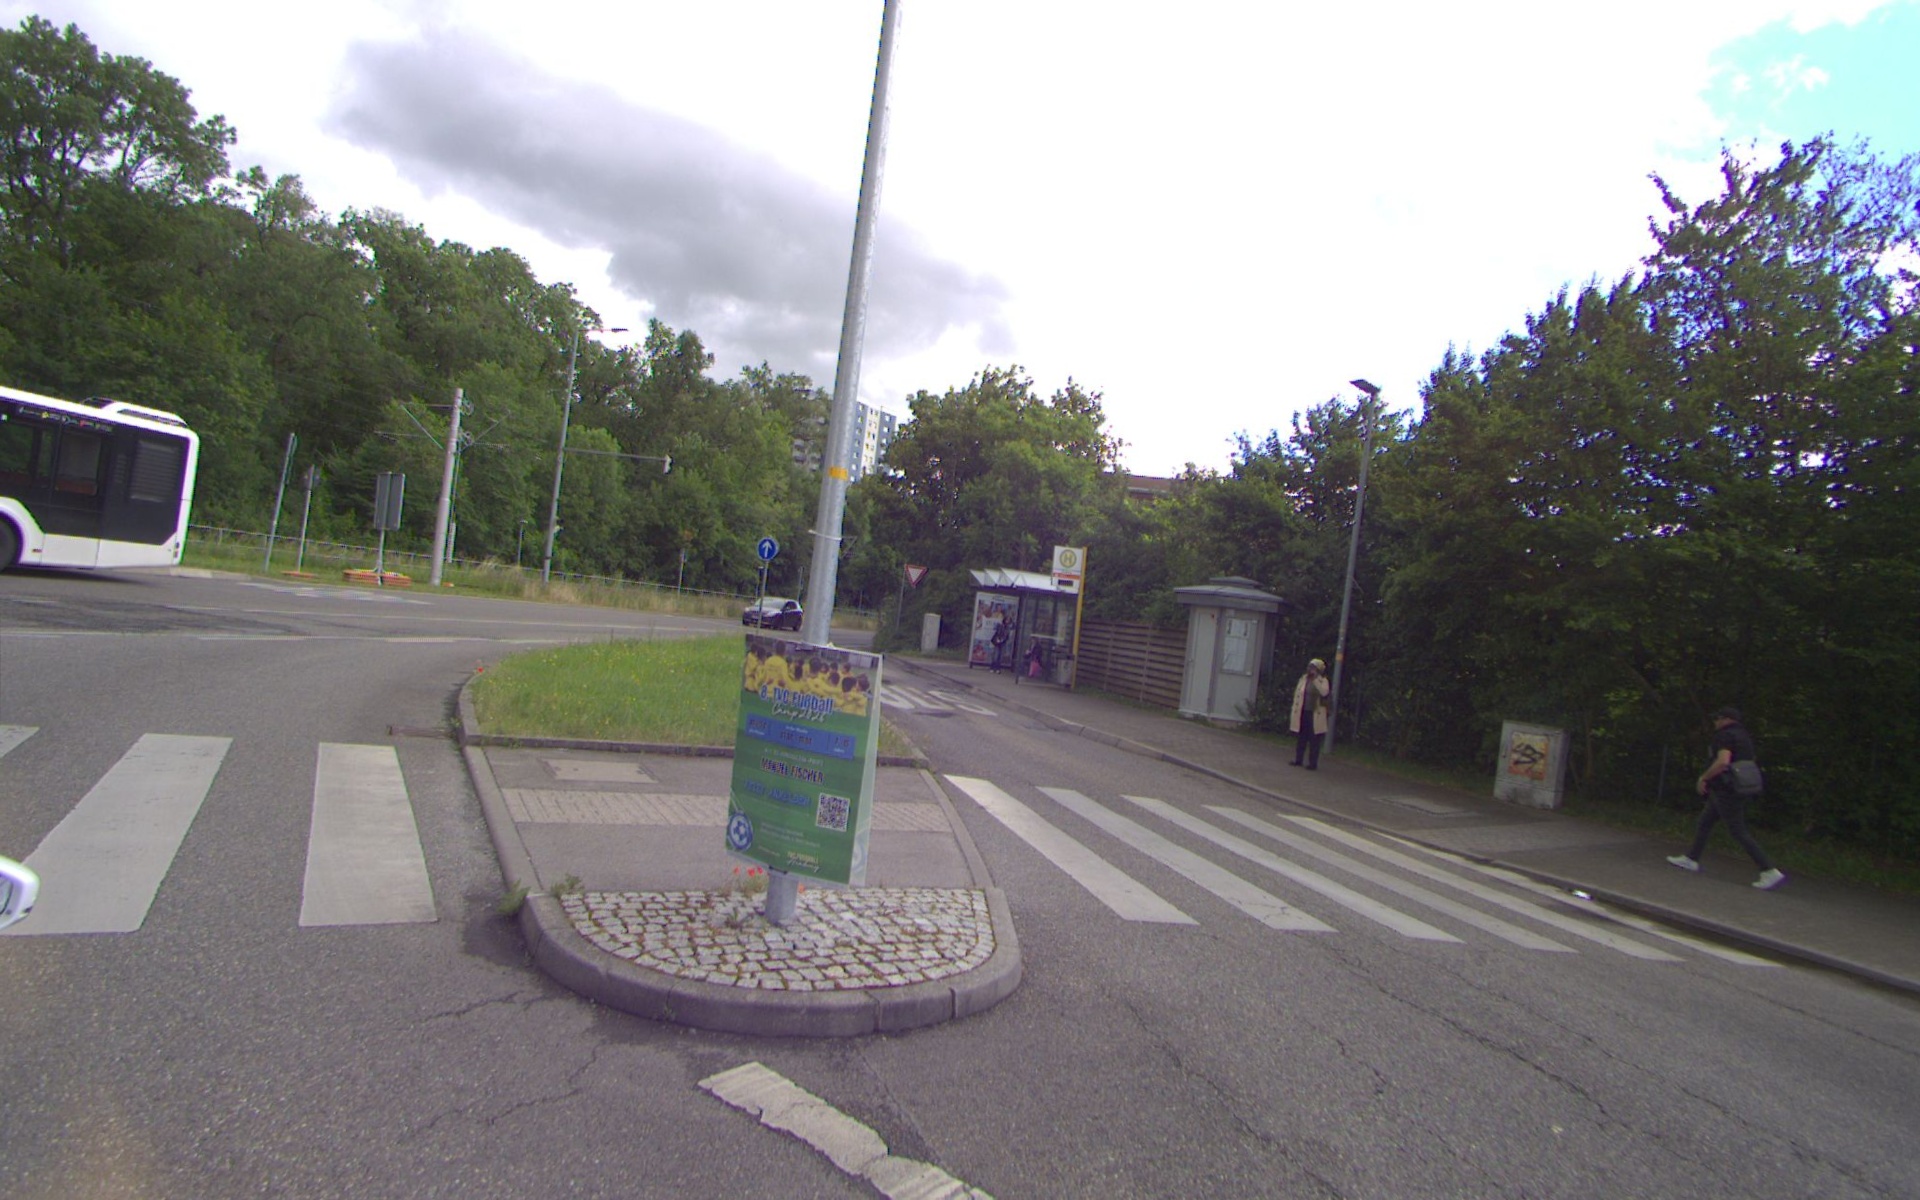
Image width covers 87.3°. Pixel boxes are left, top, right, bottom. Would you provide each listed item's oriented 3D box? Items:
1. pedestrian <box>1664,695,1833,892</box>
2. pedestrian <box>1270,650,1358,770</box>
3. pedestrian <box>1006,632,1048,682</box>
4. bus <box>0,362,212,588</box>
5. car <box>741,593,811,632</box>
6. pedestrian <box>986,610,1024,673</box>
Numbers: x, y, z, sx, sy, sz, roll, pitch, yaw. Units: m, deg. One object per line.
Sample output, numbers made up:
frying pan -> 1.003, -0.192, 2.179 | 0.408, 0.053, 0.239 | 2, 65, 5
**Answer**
pedestrian -> 8.272, 2.011, 10.578 | 0.847, 1.844, 0.978 | 7, 0, -28
pedestrian -> 5.270, 1.632, 15.006 | 0.678, 1.614, 0.767 | 7, 2, -22
pedestrian -> 1.752, 1.486, 26.307 | 0.740, 1.184, 0.768 | 7, 0, -19
bus -> -16.450, -2.281, 12.978 | 2.624, 3.240, 12.211 | 7, -1, 10
car -> -8.566, 0.632, 47.155 | 1.727, 1.451, 4.433 | 8, -1, 9
pedestrian -> 1.269, 1.162, 28.292 | 0.758, 1.669, 0.686 | 7, 0, -9
